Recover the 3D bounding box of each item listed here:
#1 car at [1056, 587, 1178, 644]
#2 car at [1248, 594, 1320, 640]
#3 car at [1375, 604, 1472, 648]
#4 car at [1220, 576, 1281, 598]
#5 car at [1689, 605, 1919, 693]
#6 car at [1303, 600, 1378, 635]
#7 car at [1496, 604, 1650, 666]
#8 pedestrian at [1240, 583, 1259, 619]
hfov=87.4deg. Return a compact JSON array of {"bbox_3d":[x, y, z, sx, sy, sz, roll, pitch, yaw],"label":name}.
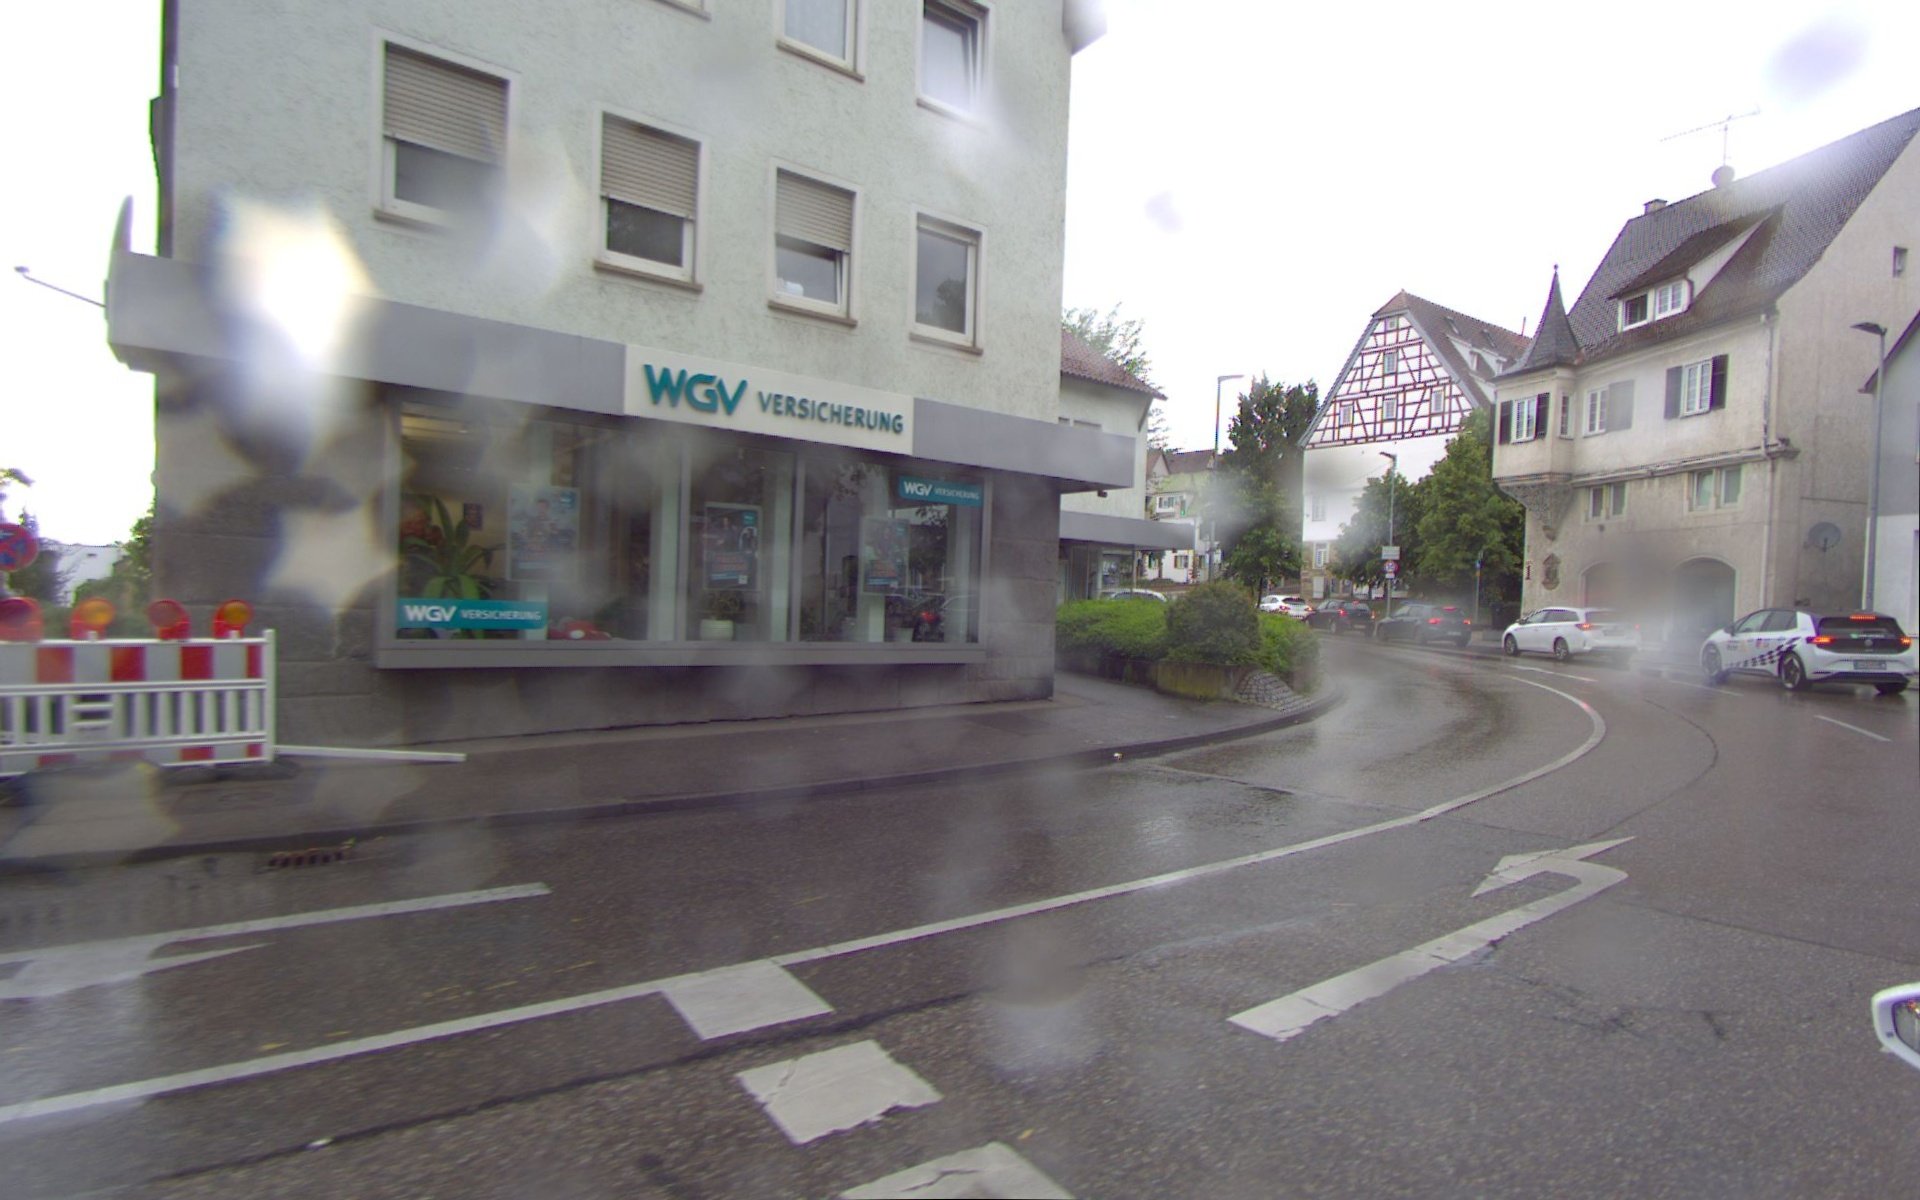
[{"bbox_3d":[4.984,0.484,31.911,3.489,1.708,1.702,1,1,-25],"label":"car"},{"bbox_3d":[15.940,0.818,49.595,1.942,2.118,3.957,0,1,-5],"label":"car"},{"bbox_3d":[16.664,0.899,36.298,1.495,1.380,3.764,0,1,-5],"label":"car"},{"bbox_3d":[22.792,-1.020,78.788,4.468,1.409,1.640,2,7,-25],"label":"car"},{"bbox_3d":[16.523,0.871,19.937,1.758,1.537,4.243,0,0,13],"label":"car"},{"bbox_3d":[16.188,0.722,42.852,1.636,1.330,3.621,0,1,-4],"label":"car"},{"bbox_3d":[16.950,0.908,28.020,1.756,1.485,4.164,0,1,0],"label":"car"},{"bbox_3d":[19.607,0.058,67.985,0.851,2.357,1.230,1,0,-1],"label":"pedestrian"}]
